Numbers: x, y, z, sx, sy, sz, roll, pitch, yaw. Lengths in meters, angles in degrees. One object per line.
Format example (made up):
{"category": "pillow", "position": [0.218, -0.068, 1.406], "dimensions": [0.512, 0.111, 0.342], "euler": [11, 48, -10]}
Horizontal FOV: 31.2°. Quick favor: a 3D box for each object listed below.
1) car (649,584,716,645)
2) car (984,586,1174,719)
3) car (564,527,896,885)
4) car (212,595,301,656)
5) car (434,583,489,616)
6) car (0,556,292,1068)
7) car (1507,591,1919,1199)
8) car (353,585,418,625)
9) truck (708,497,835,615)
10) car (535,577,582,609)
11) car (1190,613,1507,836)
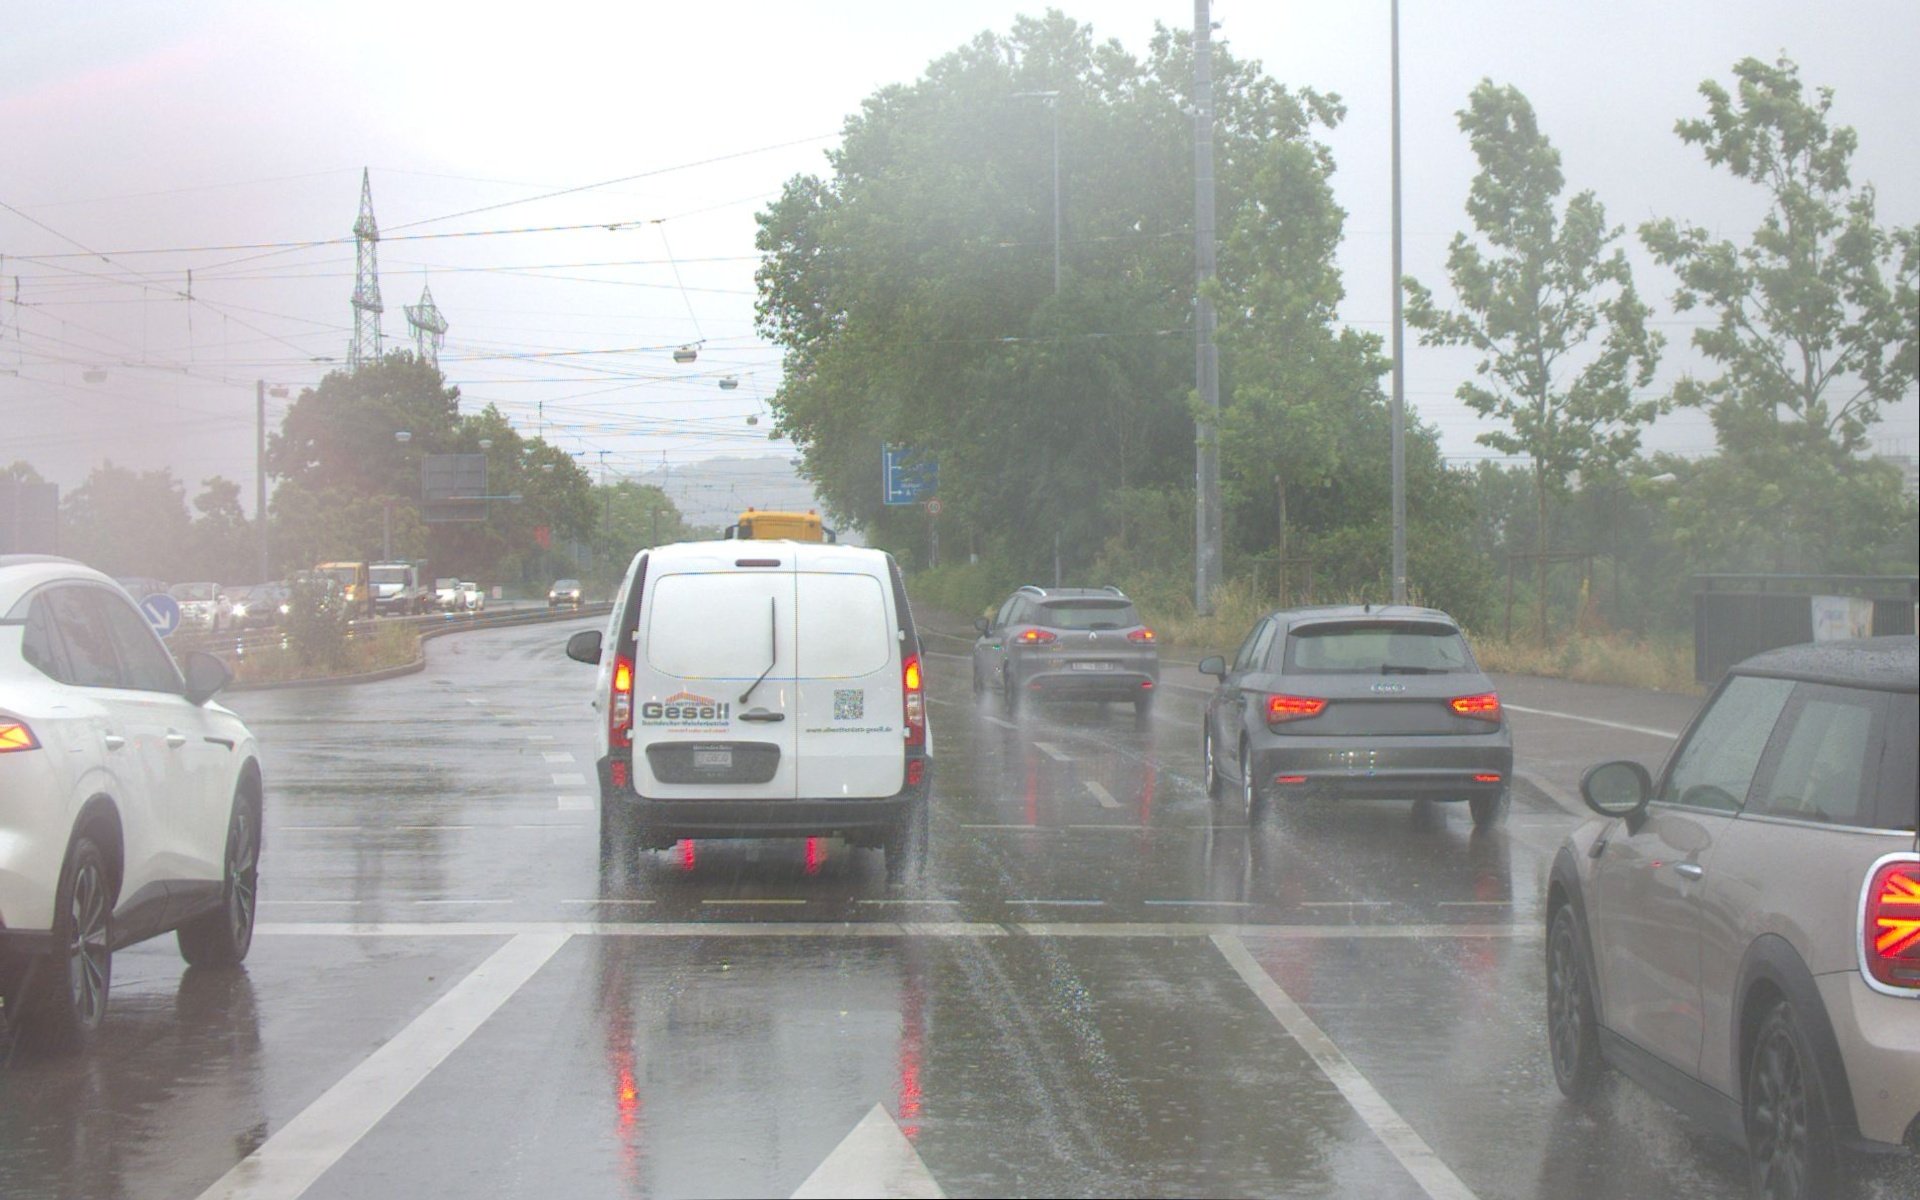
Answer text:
{"category": "car", "position": [-8.800, 0.462, 108.721], "dimensions": [1.993, 1.853, 4.001], "euler": [1, -1, -6]}
{"category": "car", "position": [1.325, 0.575, 39.807], "dimensions": [1.859, 1.424, 3.808], "euler": [1, 0, -3]}
{"category": "car", "position": [-1.191, 0.542, 19.252], "dimensions": [1.566, 1.782, 4.000], "euler": [0, 0, 0]}
{"category": "car", "position": [-21.604, 0.793, 105.656], "dimensions": [1.824, 1.801, 3.768], "euler": [1, 0, 2]}
{"category": "car", "position": [-24.651, -0.003, 170.145], "dimensions": [1.993, 1.581, 4.000], "euler": [1, 0, 2]}
{"category": "car", "position": [-3.676, 0.607, 12.423], "dimensions": [1.729, 1.530, 4.298], "euler": [1, 0, -1]}
{"category": "car", "position": [2.625, 0.745, 9.079], "dimensions": [1.713, 1.503, 3.624], "euler": [1, 0, -1]}
{"category": "car", "position": [-24.675, 0.220, 147.727], "dimensions": [1.993, 1.658, 4.000], "euler": [1, 0, 2]}
{"category": "truck", "position": [-4.821, -1.046, 86.830], "dimensions": [2.632, 2.807, 7.146], "euler": [1, 0, -8]}
{"category": "car", "position": [-22.351, -0.377, 191.559], "dimensions": [1.993, 1.751, 4.000], "euler": [1, 0, 2]}
{"category": "car", "position": [2.500, 0.775, 22.874], "dimensions": [1.629, 1.340, 3.624], "euler": [1, 0, -1]}
